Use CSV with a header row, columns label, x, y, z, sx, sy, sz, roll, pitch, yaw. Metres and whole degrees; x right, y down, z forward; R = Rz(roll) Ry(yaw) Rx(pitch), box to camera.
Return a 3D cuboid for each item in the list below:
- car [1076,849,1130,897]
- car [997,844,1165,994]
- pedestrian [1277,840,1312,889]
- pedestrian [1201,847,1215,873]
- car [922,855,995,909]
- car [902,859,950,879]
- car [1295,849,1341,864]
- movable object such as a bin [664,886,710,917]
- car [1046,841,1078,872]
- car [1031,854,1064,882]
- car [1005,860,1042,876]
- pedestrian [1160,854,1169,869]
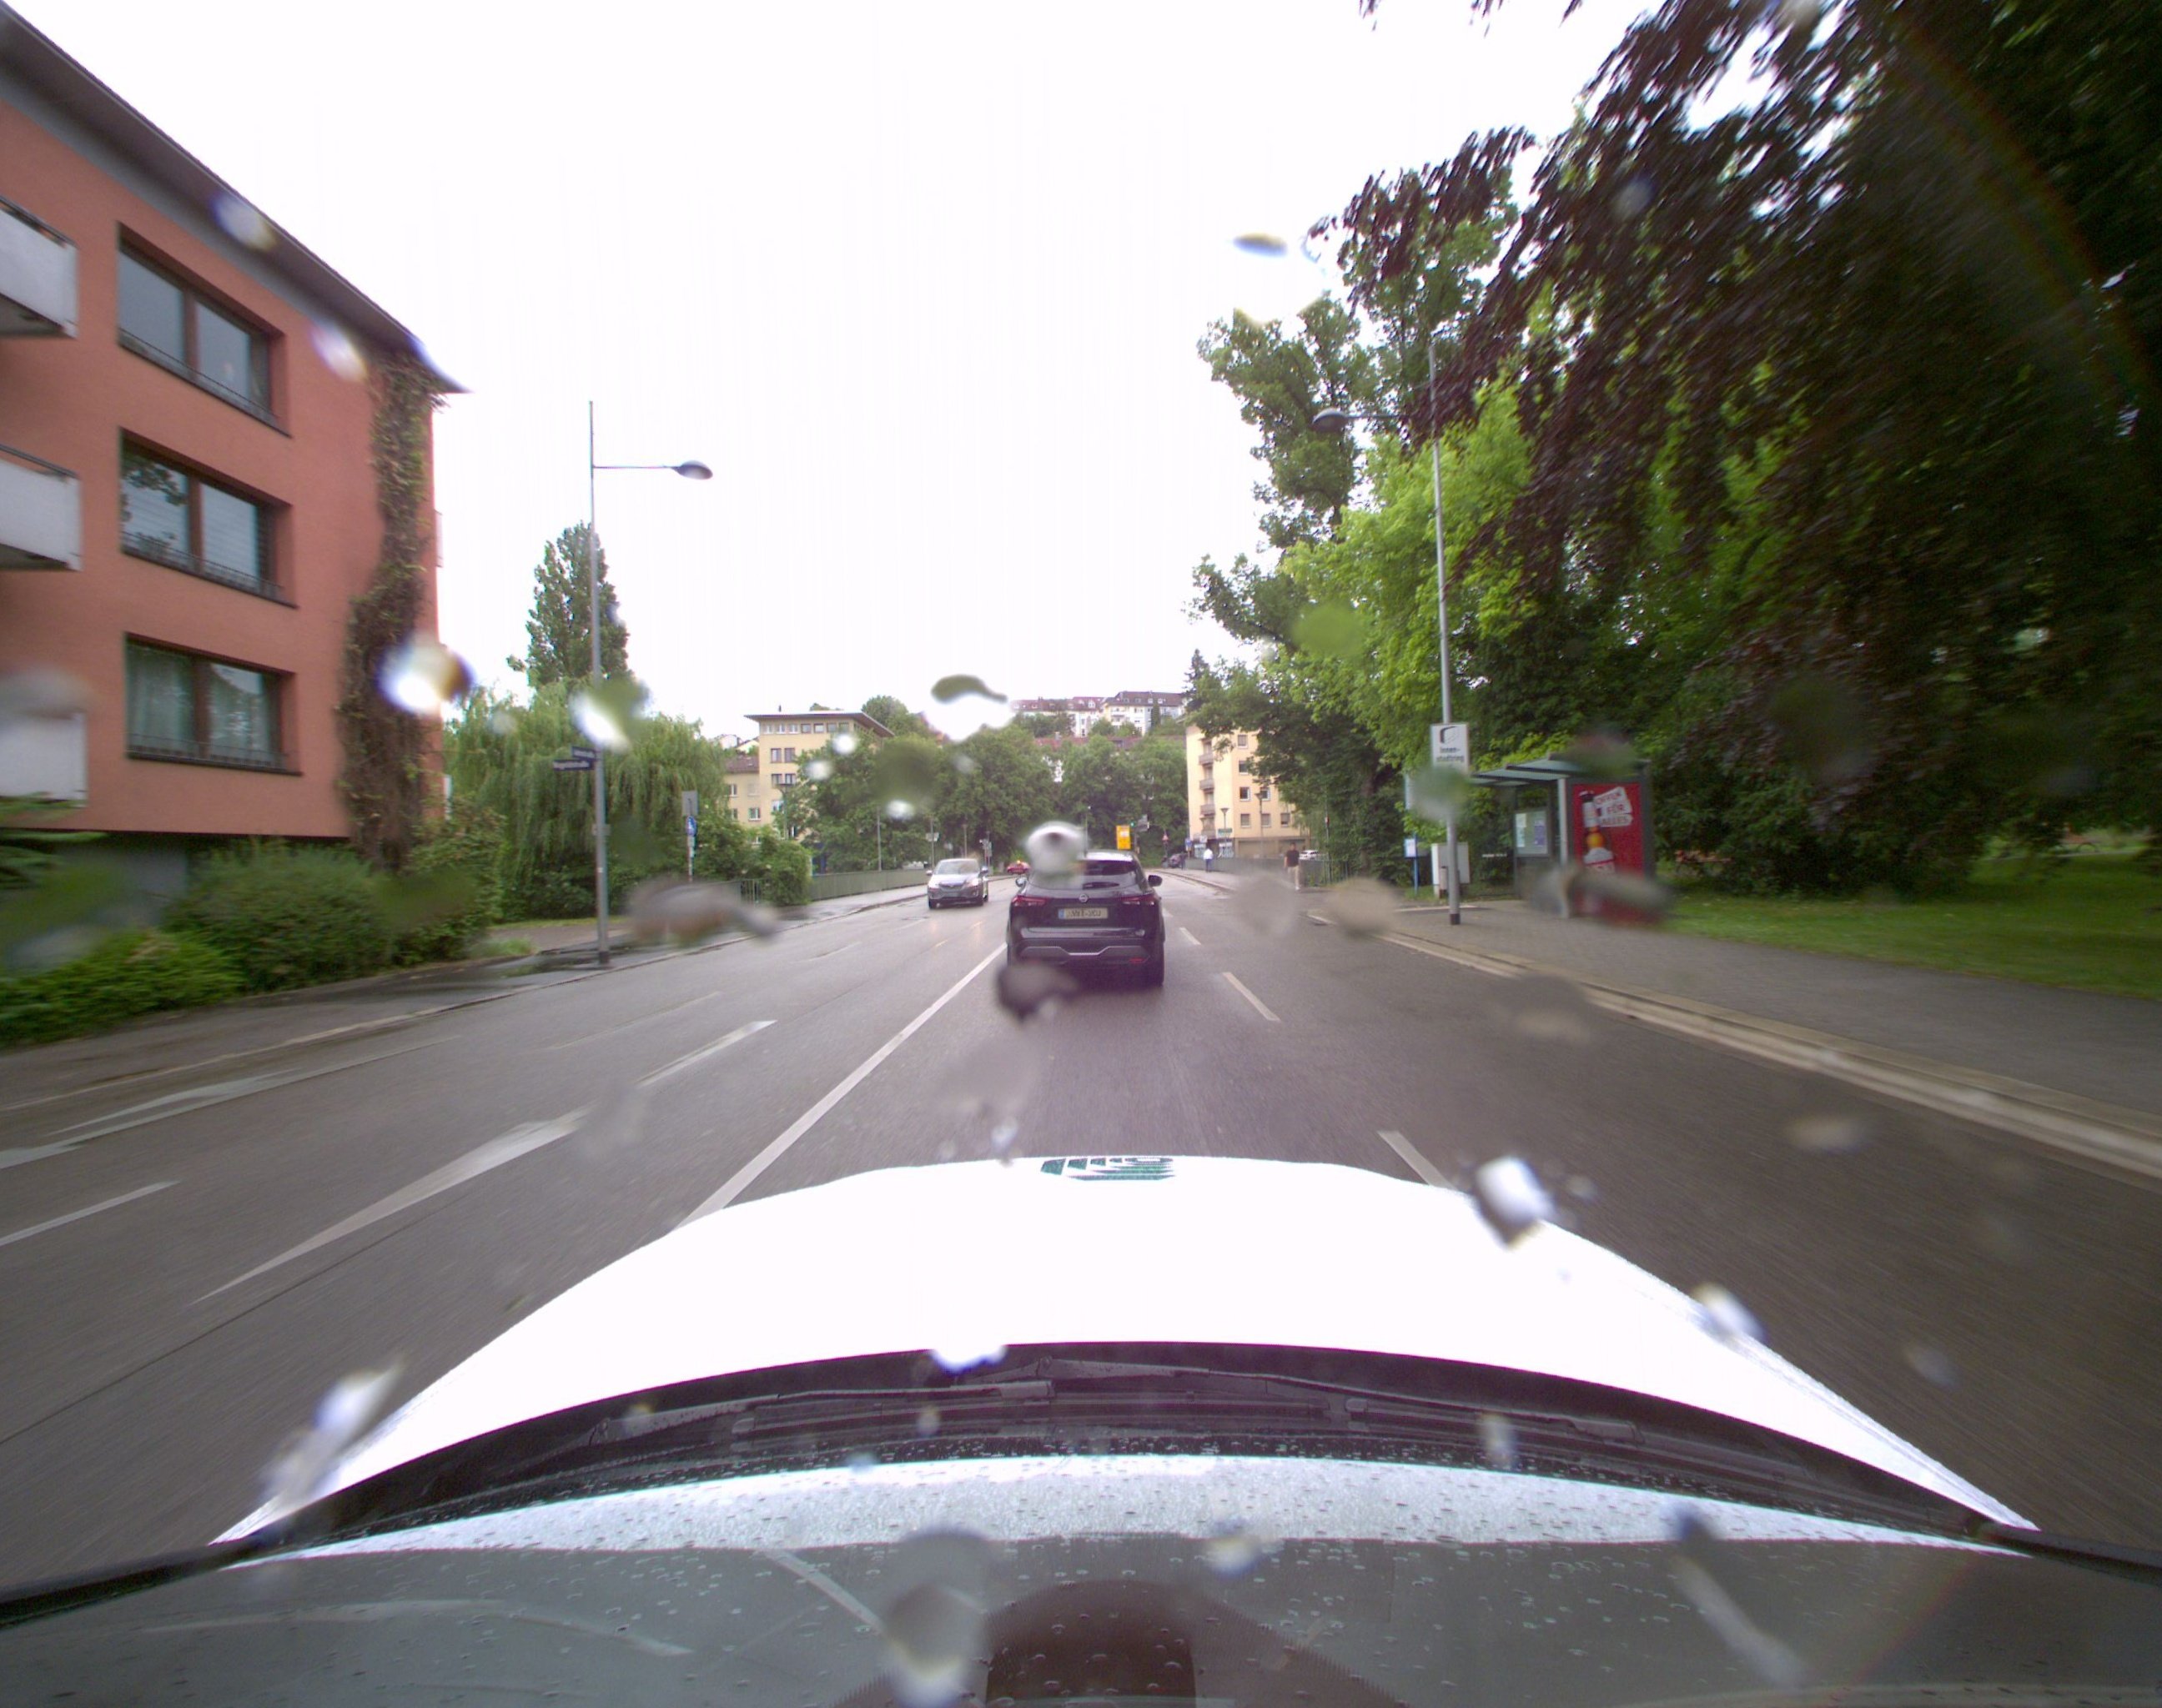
label,x,y,z,sx,sy,sz,roll,pitch,yaw
car,0.803,0.630,29.304,1.804,1.603,4.002,0,0,2
car,0.062,0.697,10.807,1.804,1.603,4.002,-1,0,2
pedestrian,7.577,0.370,28.981,0.844,1.676,1.168,-4,-1,1
pedestrian,8.828,0.430,56.739,0.777,1.752,1.061,-2,-1,1
car,-4.091,0.884,27.863,1.808,1.579,4.230,-3,0,-1
car,-16.347,1.563,85.964,4.738,1.854,1.995,-2,1,-7
car,25.592,0.228,87.926,4.447,1.376,1.808,-2,2,-15
movable object such as a bin,-12.166,1.459,25.170,0.962,0.877,0.833,-2,-1,1
car,-1.525,0.184,67.833,2.281,2.308,6.511,-3,0,1
car,-1.938,0.775,48.447,1.776,1.474,4.165,-3,0,-1
car,-7.242,1.765,102.187,4.314,1.735,1.907,-3,0,37
pedestrian,9.352,0.797,91.249,0.859,1.619,0.840,-3,-1,2
